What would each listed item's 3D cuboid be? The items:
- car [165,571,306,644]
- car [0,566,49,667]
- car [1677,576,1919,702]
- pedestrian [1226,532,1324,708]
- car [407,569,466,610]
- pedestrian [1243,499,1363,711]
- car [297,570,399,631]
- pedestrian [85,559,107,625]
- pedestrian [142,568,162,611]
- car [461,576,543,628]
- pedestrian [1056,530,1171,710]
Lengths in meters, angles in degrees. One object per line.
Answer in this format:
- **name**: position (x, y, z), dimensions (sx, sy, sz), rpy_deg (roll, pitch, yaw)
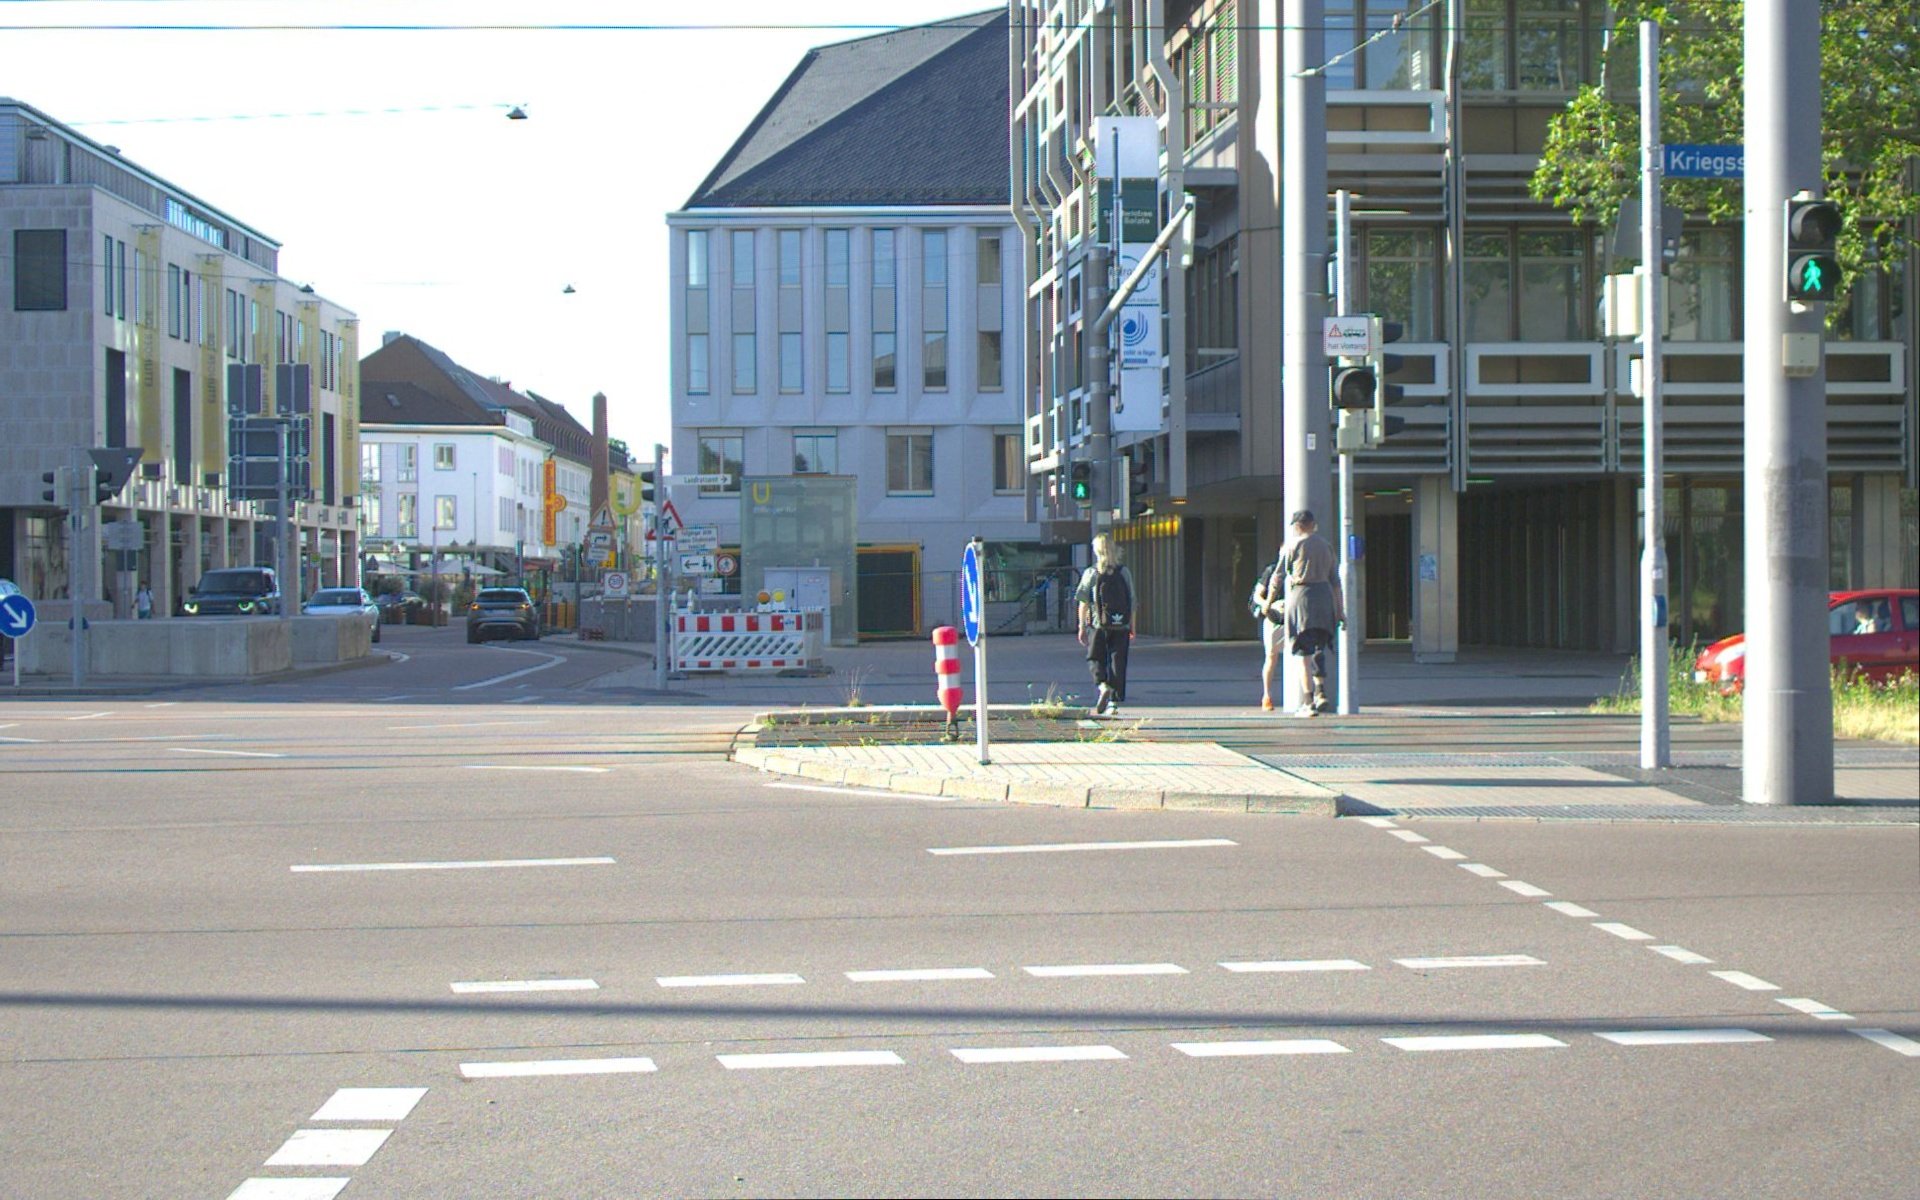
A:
- **car**: position (-17.378, 0.181, 82.710), dimensions (2.174, 1.686, 5.486), rpy_deg (0, 0, 1)
- **car**: position (-16.873, 0.264, 58.317), dimensions (1.937, 1.672, 4.295), rpy_deg (0, 0, -3)
- **car**: position (11.083, 0.494, 42.803), dimensions (3.867, 1.481, 1.846), rpy_deg (0, -3, -2)
- **pedestrian**: position (3.462, 0.210, 37.900), dimensions (1.012, 1.904, 1.051), rpy_deg (0, 1, 2)
- **car**: position (-24.572, -0.491, 161.441), dimensions (2.174, 1.866, 5.616), rpy_deg (0, 0, -3)
- **pedestrian**: position (2.850, 0.033, 28.656), dimensions (0.855, 1.738, 0.739), rpy_deg (0, 1, -7)
- **car**: position (-17.383, 0.023, 97.930), dimensions (2.174, 1.686, 5.616), rpy_deg (0, 0, -3)
- **pedestrian**: position (-26.793, -0.254, 106.597), dimensions (0.616, 2.007, 0.478), rpy_deg (1, 0, -13)
- **pedestrian**: position (-25.633, -0.321, 109.054), dimensions (0.488, 1.352, 0.564), rpy_deg (1, 0, -5)
- **car**: position (-13.037, 0.061, 98.073), dimensions (1.936, 1.445, 4.262), rpy_deg (0, 0, -3)
- **pedestrian**: position (1.348, 0.164, 30.331), dimensions (0.895, 1.544, 0.924), rpy_deg (0, 2, -5)
